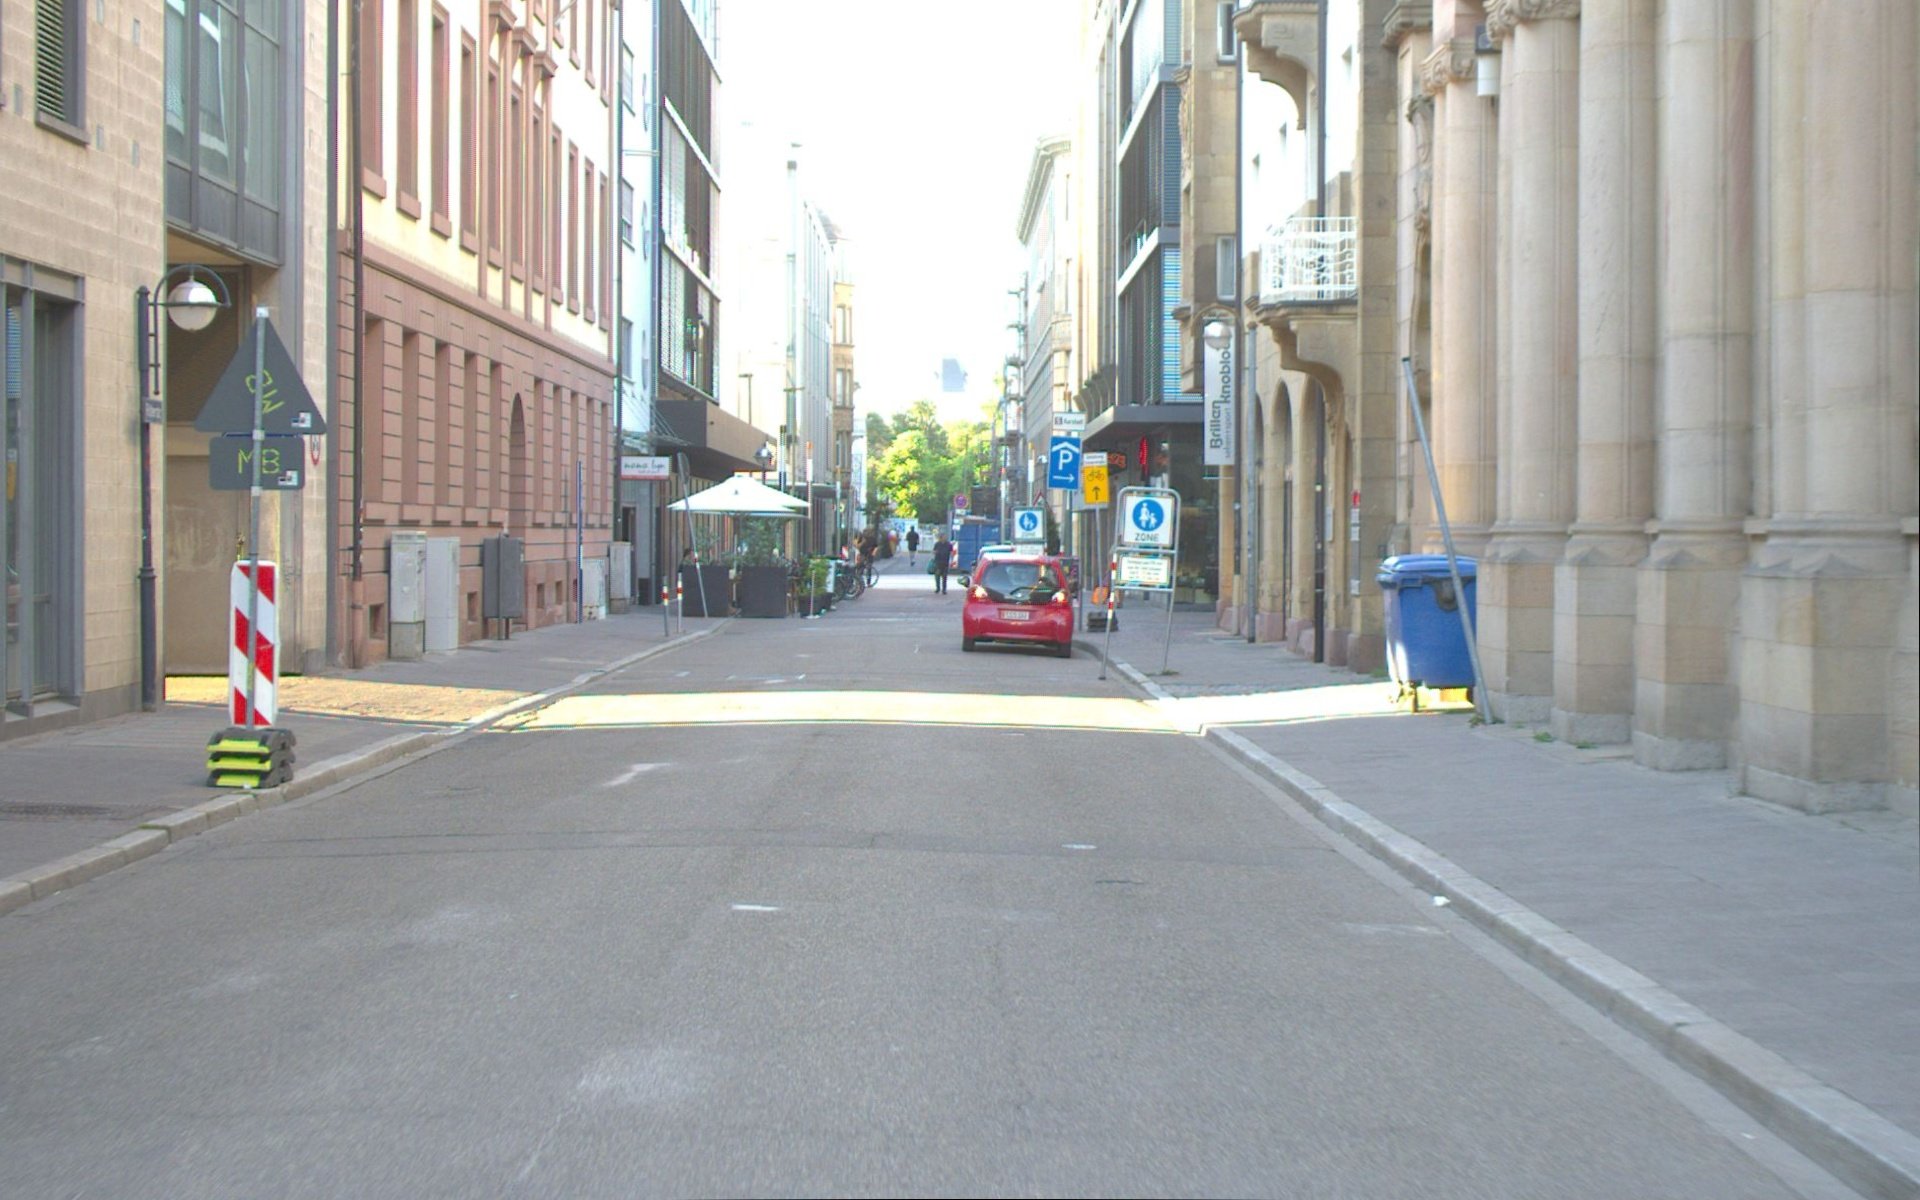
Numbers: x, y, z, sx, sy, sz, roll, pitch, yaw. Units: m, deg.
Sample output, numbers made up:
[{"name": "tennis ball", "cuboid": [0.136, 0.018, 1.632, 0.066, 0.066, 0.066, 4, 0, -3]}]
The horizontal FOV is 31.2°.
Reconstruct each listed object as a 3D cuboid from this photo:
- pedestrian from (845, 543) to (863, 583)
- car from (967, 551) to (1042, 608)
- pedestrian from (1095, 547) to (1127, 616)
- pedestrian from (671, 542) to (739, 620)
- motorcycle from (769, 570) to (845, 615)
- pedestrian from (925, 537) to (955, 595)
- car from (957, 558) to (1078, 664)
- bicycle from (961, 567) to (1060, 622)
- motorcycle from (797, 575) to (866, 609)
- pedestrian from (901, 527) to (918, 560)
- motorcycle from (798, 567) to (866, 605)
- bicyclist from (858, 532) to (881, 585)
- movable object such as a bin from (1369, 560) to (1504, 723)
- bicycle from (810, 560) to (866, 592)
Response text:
[{"name": "pedestrian", "cuboid": [-4.371, -1.526, 141.840, 0.678, 1.617, 0.625, 1, 1, 2]}, {"name": "car", "cuboid": [1.273, -0.620, 100.632, 1.993, 1.605, 4.000, 1, 1, -2]}, {"name": "pedestrian", "cuboid": [3.254, -0.403, 74.211, 0.656, 1.482, 0.493, 1, 1, 2]}, {"name": "pedestrian", "cuboid": [-4.961, -0.370, 66.910, 1.290, 1.482, 0.661, 1, 1, -2]}, {"name": "motorcycle", "cuboid": [-3.689, -0.178, 82.856, 1.801, 1.037, 0.494, 1, 1, -4]}, {"name": "pedestrian", "cuboid": [-0.598, -1.026, 102.557, 0.865, 1.707, 0.852, 1, 1, -1]}, {"name": "car", "cuboid": [0.830, 0.136, 51.027, 1.649, 1.422, 3.535, 3, 1, 0]}, {"name": "bicycle", "cuboid": [1.064, -0.112, 72.886, 2.052, 1.130, 0.649, 1, 1, -3]}, {"name": "motorcycle", "cuboid": [-3.399, -0.222, 90.922, 1.801, 0.872, 0.560, 1, 1, -4]}, {"name": "pedestrian", "cuboid": [-2.587, -2.867, 174.998, 0.804, 1.667, 0.888, 1, 1, 2]}, {"name": "motorcycle", "cuboid": [-3.424, -0.372, 91.954, 1.801, 0.986, 0.560, 1, 1, -4]}, {"name": "bicyclist", "cuboid": [-2.839, -1.305, 108.139, 0.636, 1.635, 0.772, 0, 1, -9]}, {"name": "movable object such as a bin", "cuboid": [4.156, 0.351, 30.065, 0.990, 1.387, 1.241, 0, 1, -1]}, {"name": "bicycle", "cuboid": [-3.449, -0.676, 97.457, 1.518, 0.893, 0.485, 0, 1, -28]}]
